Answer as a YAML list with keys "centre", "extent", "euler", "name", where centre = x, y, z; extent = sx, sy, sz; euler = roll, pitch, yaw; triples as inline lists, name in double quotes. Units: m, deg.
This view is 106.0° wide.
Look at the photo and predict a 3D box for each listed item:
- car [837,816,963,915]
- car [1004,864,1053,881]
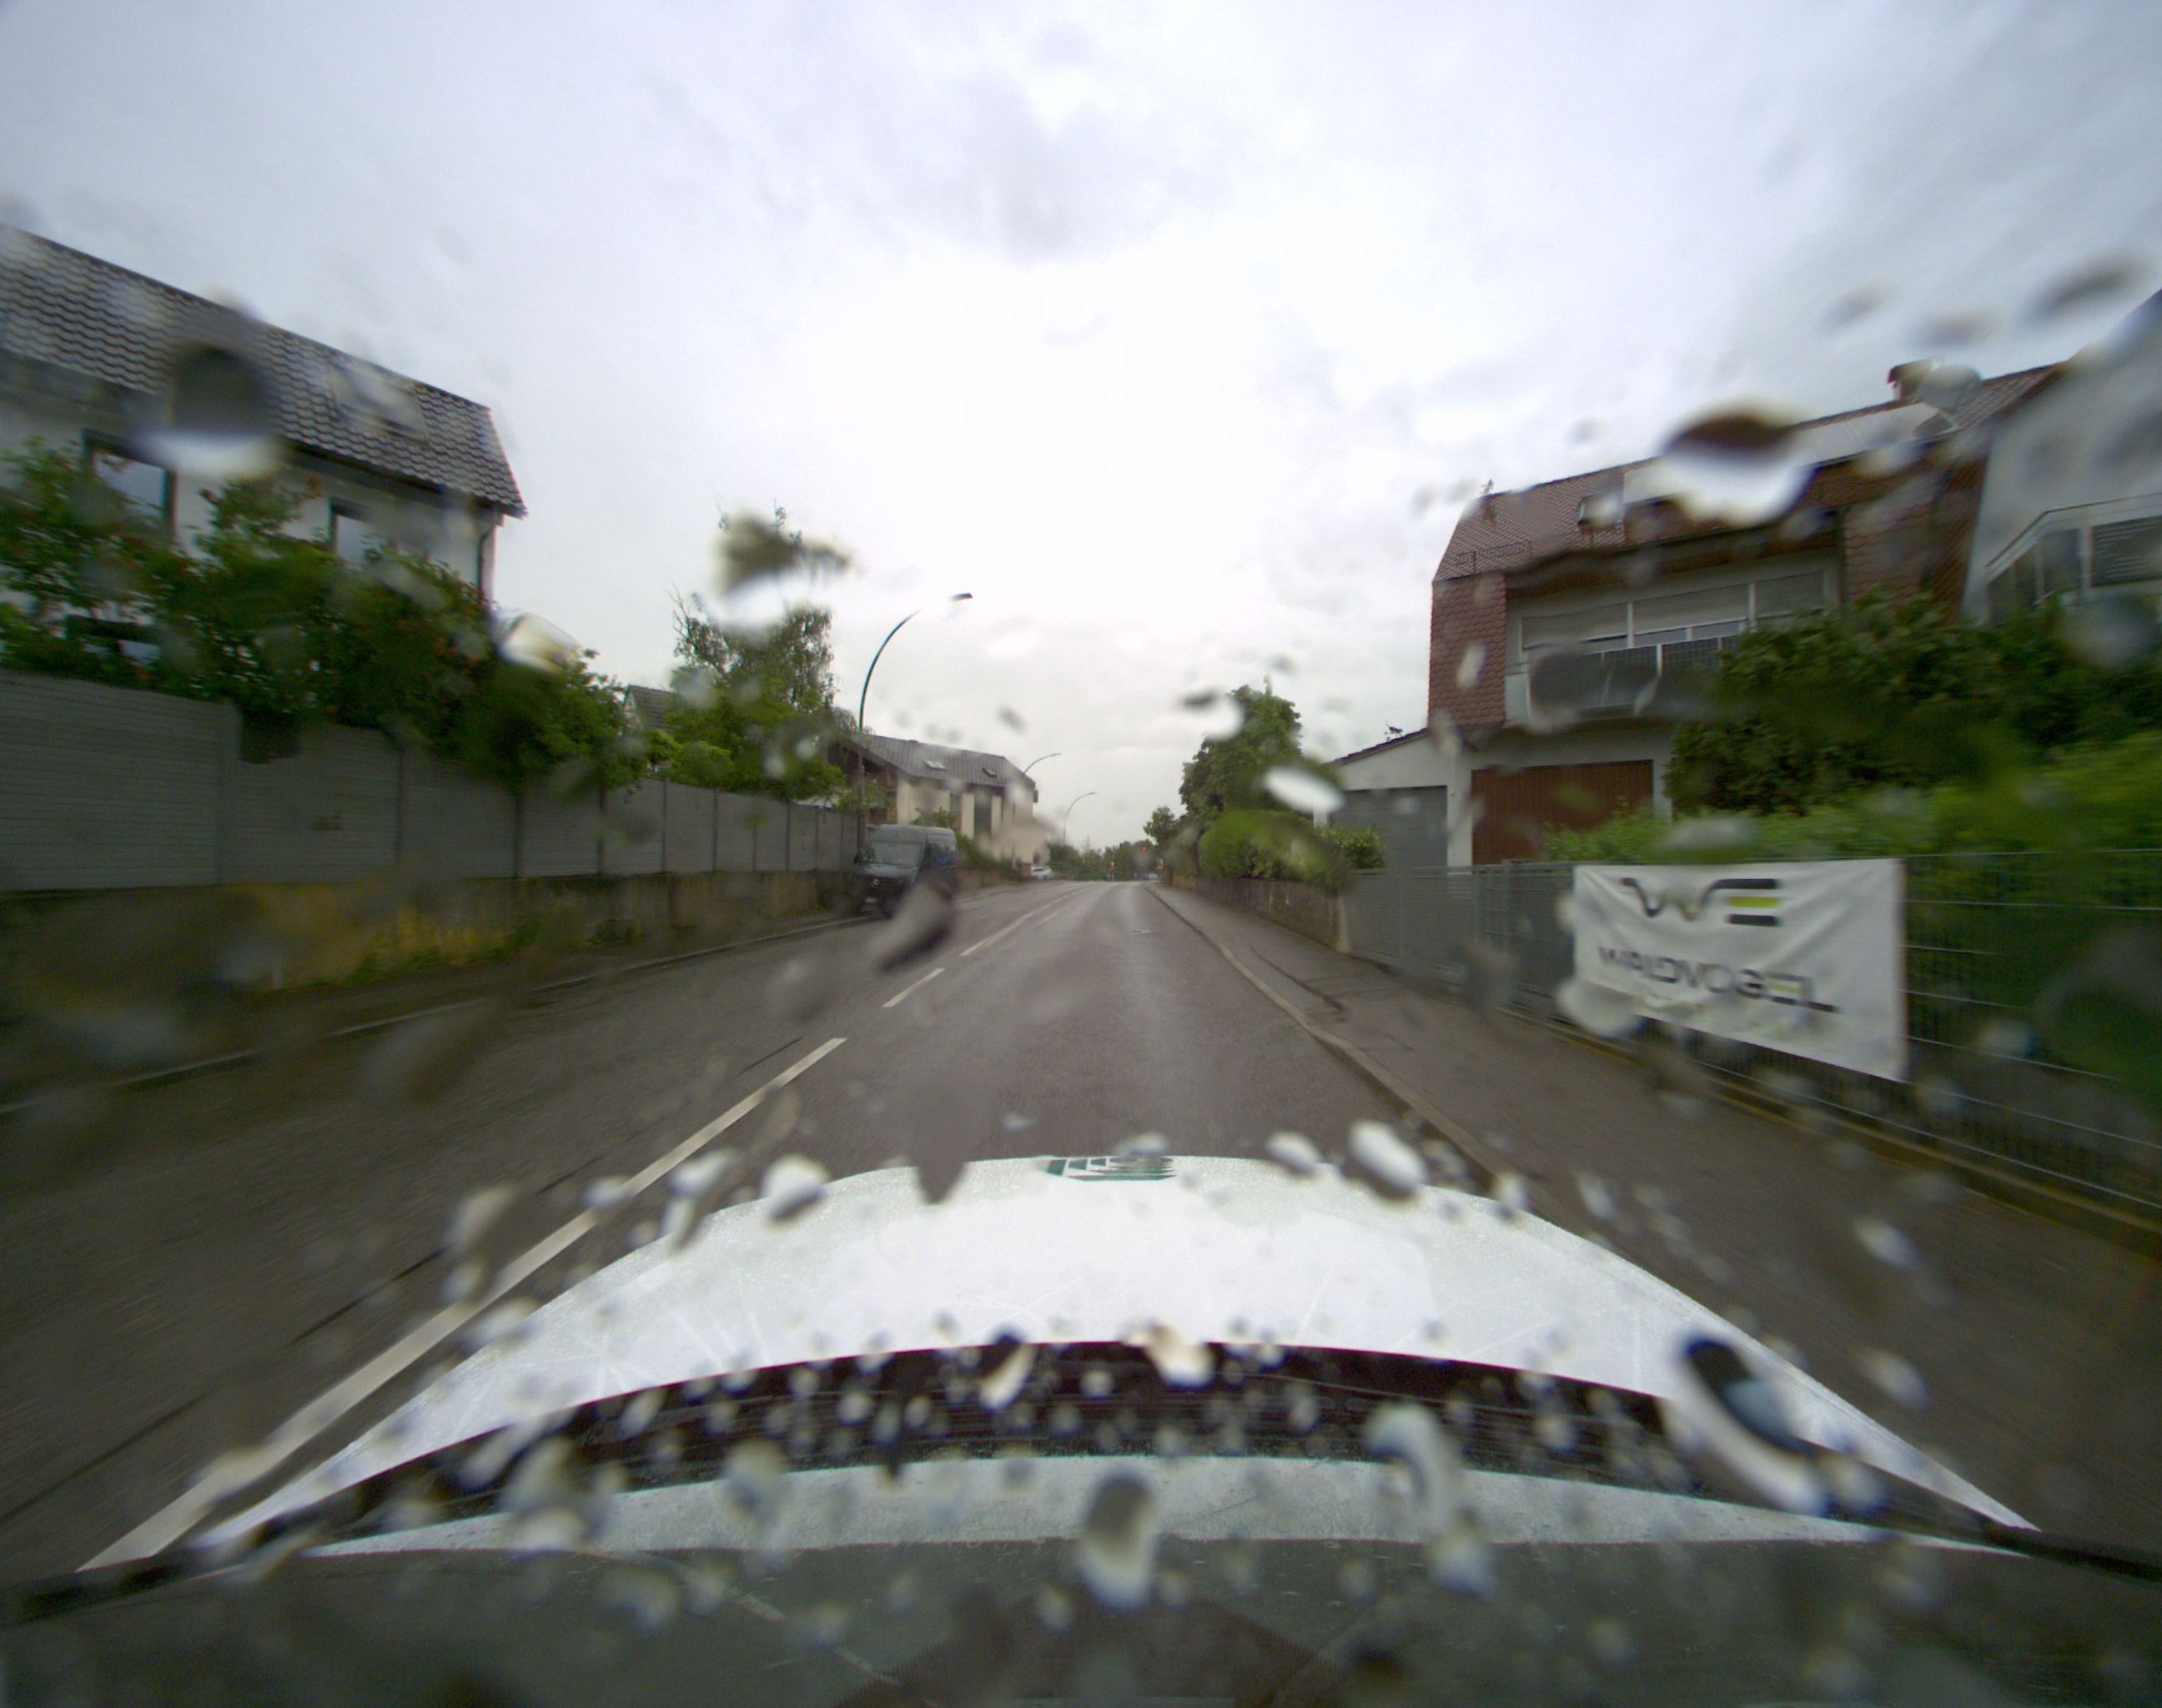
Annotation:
- centre: [-5.347, 0.331, 25.071]
  extent: [2.085, 2.649, 5.925]
  euler: [1, -1, 4]
  name: "car"
- centre: [-4.956, 1.744, 77.305]
  extent: [1.883, 1.477, 4.912]
  euler: [1, 0, 38]
  name: "car"
